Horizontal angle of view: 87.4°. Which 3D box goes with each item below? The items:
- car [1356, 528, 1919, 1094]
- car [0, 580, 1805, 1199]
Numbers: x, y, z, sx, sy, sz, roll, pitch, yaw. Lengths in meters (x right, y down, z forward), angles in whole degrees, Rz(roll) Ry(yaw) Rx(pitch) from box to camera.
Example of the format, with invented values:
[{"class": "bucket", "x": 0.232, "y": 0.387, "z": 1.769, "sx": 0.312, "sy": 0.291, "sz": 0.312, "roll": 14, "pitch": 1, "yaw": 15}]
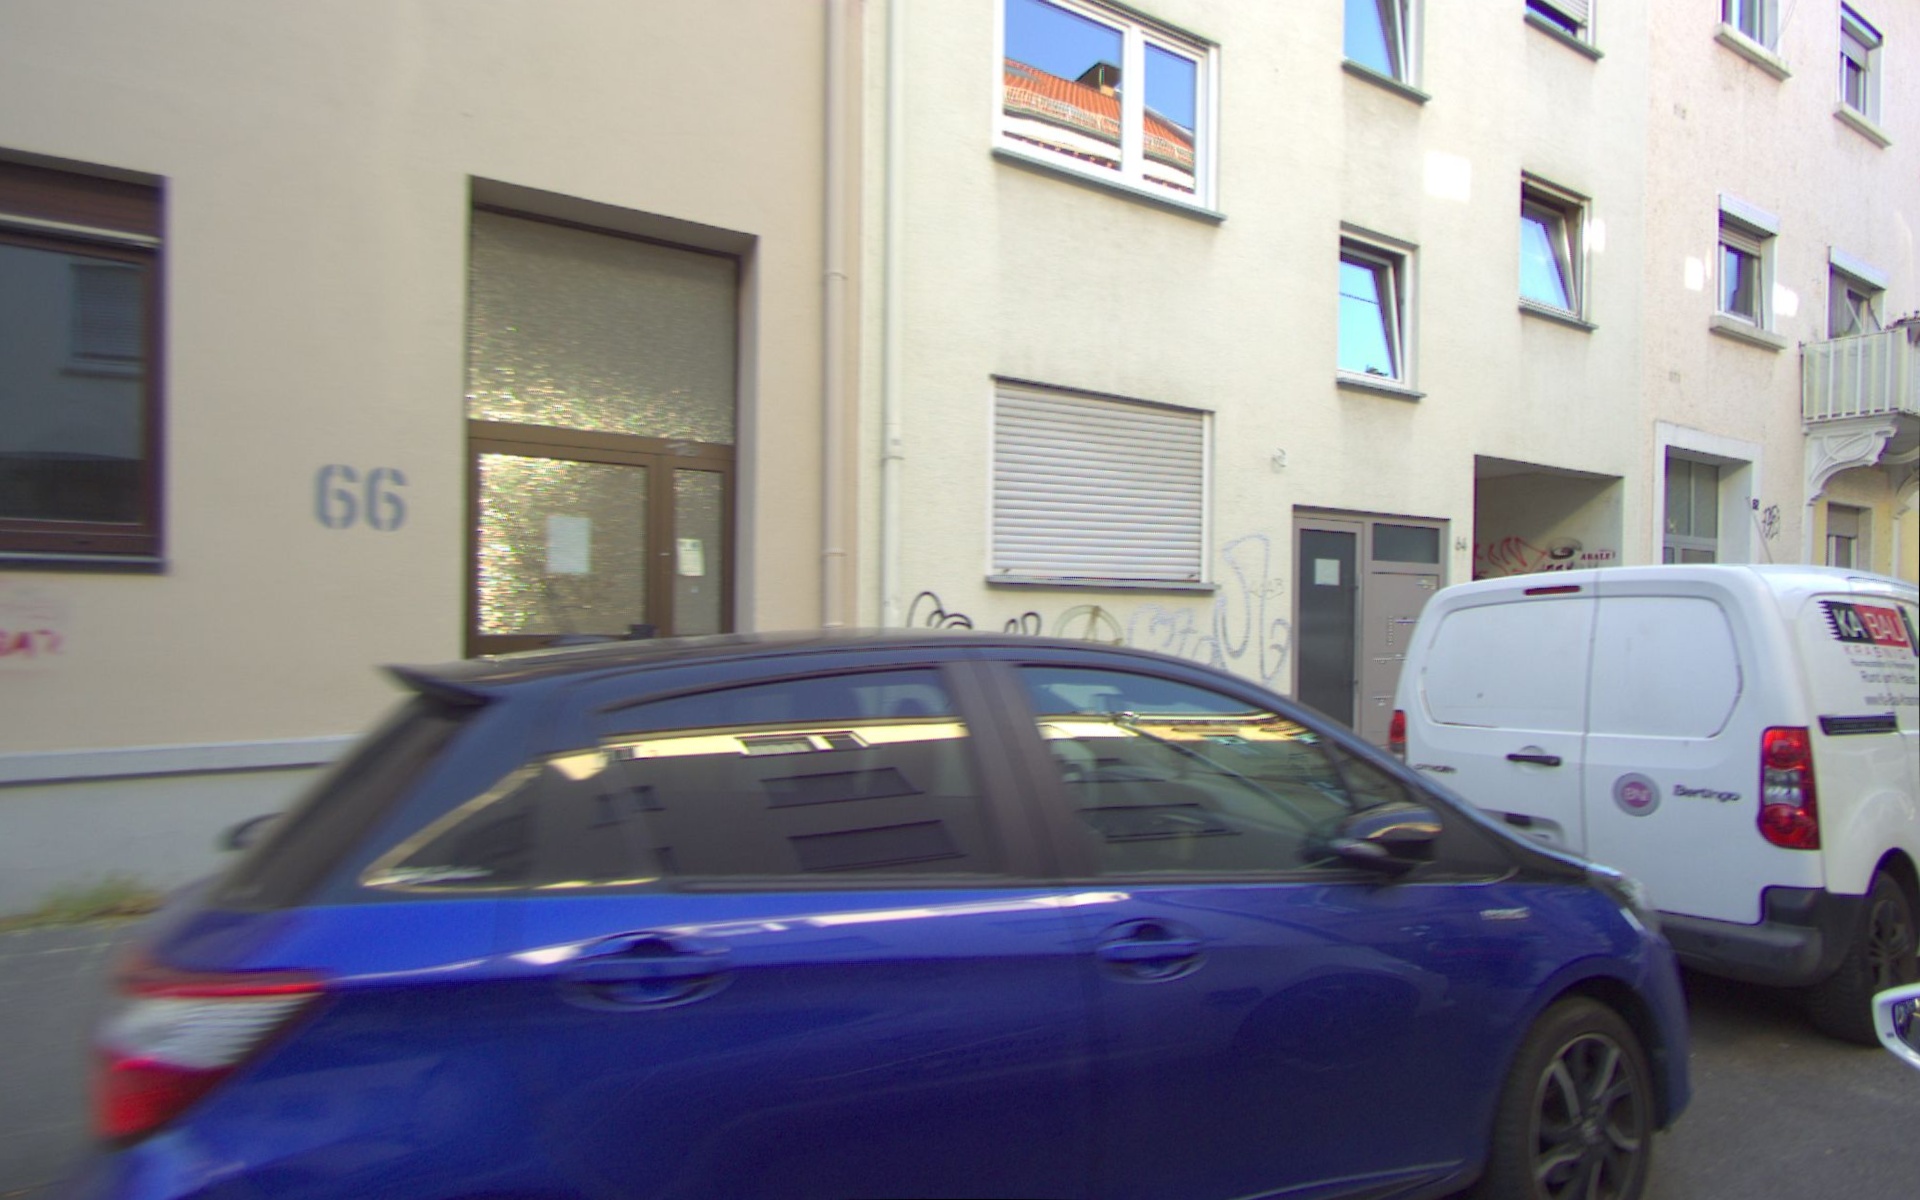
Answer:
[{"class": "car", "x": 4.027, "y": 0.725, "z": 5.030, "sx": 3.993, "sy": 1.809, "sz": 1.756, "roll": 1, "pitch": -2, "yaw": -32}, {"class": "car", "x": 0.178, "y": 0.774, "z": 2.659, "sx": 3.938, "sy": 1.505, "sz": 1.668, "roll": 0, "pitch": -2, "yaw": -26}]
